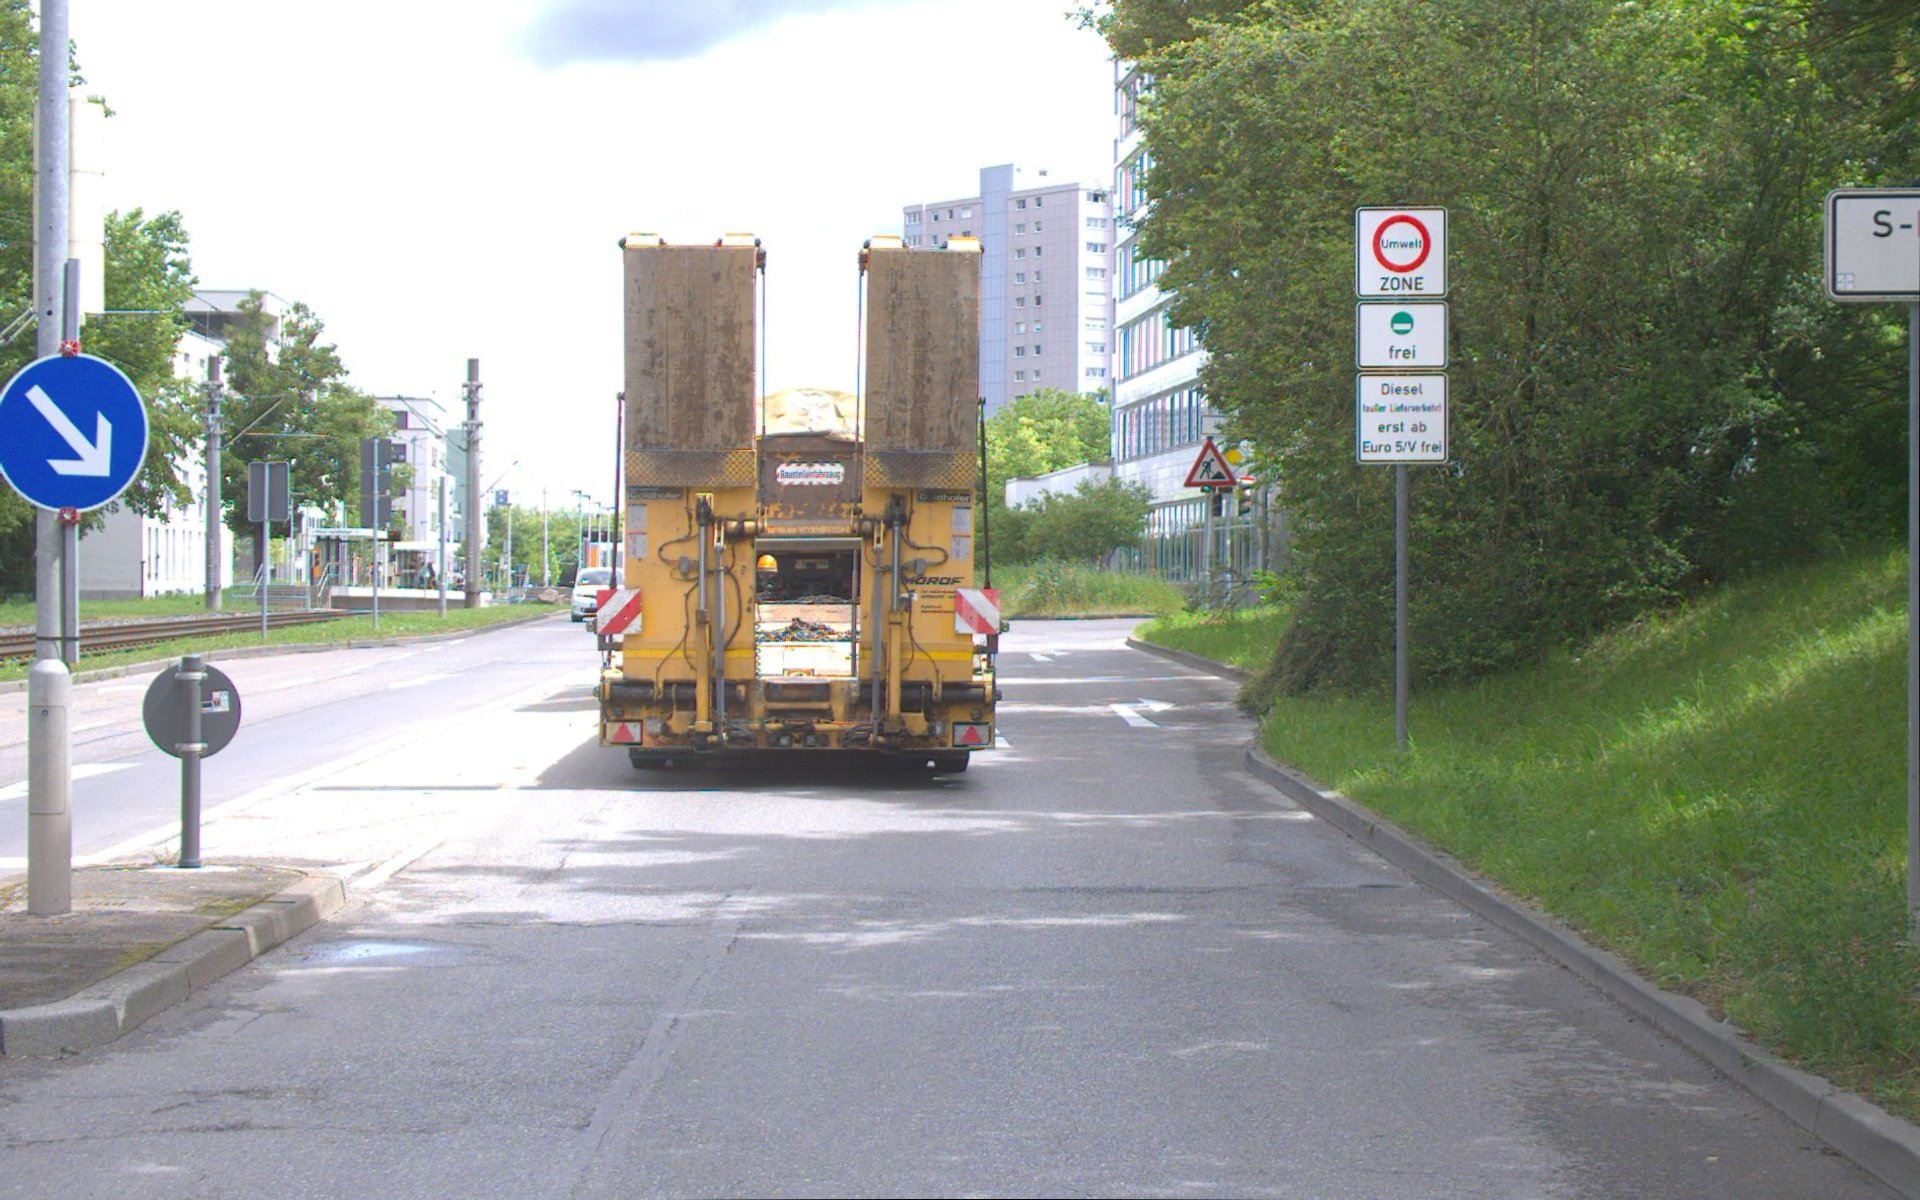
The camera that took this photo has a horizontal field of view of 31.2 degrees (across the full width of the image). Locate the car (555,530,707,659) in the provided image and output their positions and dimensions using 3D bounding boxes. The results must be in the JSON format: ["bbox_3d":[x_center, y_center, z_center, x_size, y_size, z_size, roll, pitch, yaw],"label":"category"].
[{"bbox_3d":[-5.239,-0.115,55.278,1.993,1.919,4.000,2,1,0],"label":"car"}]

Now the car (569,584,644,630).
[{"bbox_3d":[-10.135,0.178,98.819,1.784,1.267,4.345,0,0,-1],"label":"car"}]

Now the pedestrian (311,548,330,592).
[{"bbox_3d":[-29.438,-1.385,158.264,0.653,2.007,0.653,2,1,5],"label":"pedestrian"}]

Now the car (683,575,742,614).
[{"bbox_3d":[-8.429,-0.198,117.313,1.784,1.267,4.345,0,0,-1],"label":"car"}]

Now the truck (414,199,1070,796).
[{"bbox_3d":[-1.181,-0.707,27.802,3.317,3.638,12.559,2,1,5],"label":"truck"}]

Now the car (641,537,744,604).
[{"bbox_3d":[-6.076,-0.676,78.389,1.993,1.415,4.000,2,1,0],"label":"car"}]

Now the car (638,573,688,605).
[{"bbox_3d":[-11.868,-0.444,137.419,1.783,1.267,4.345,0,0,-2],"label":"car"}]
